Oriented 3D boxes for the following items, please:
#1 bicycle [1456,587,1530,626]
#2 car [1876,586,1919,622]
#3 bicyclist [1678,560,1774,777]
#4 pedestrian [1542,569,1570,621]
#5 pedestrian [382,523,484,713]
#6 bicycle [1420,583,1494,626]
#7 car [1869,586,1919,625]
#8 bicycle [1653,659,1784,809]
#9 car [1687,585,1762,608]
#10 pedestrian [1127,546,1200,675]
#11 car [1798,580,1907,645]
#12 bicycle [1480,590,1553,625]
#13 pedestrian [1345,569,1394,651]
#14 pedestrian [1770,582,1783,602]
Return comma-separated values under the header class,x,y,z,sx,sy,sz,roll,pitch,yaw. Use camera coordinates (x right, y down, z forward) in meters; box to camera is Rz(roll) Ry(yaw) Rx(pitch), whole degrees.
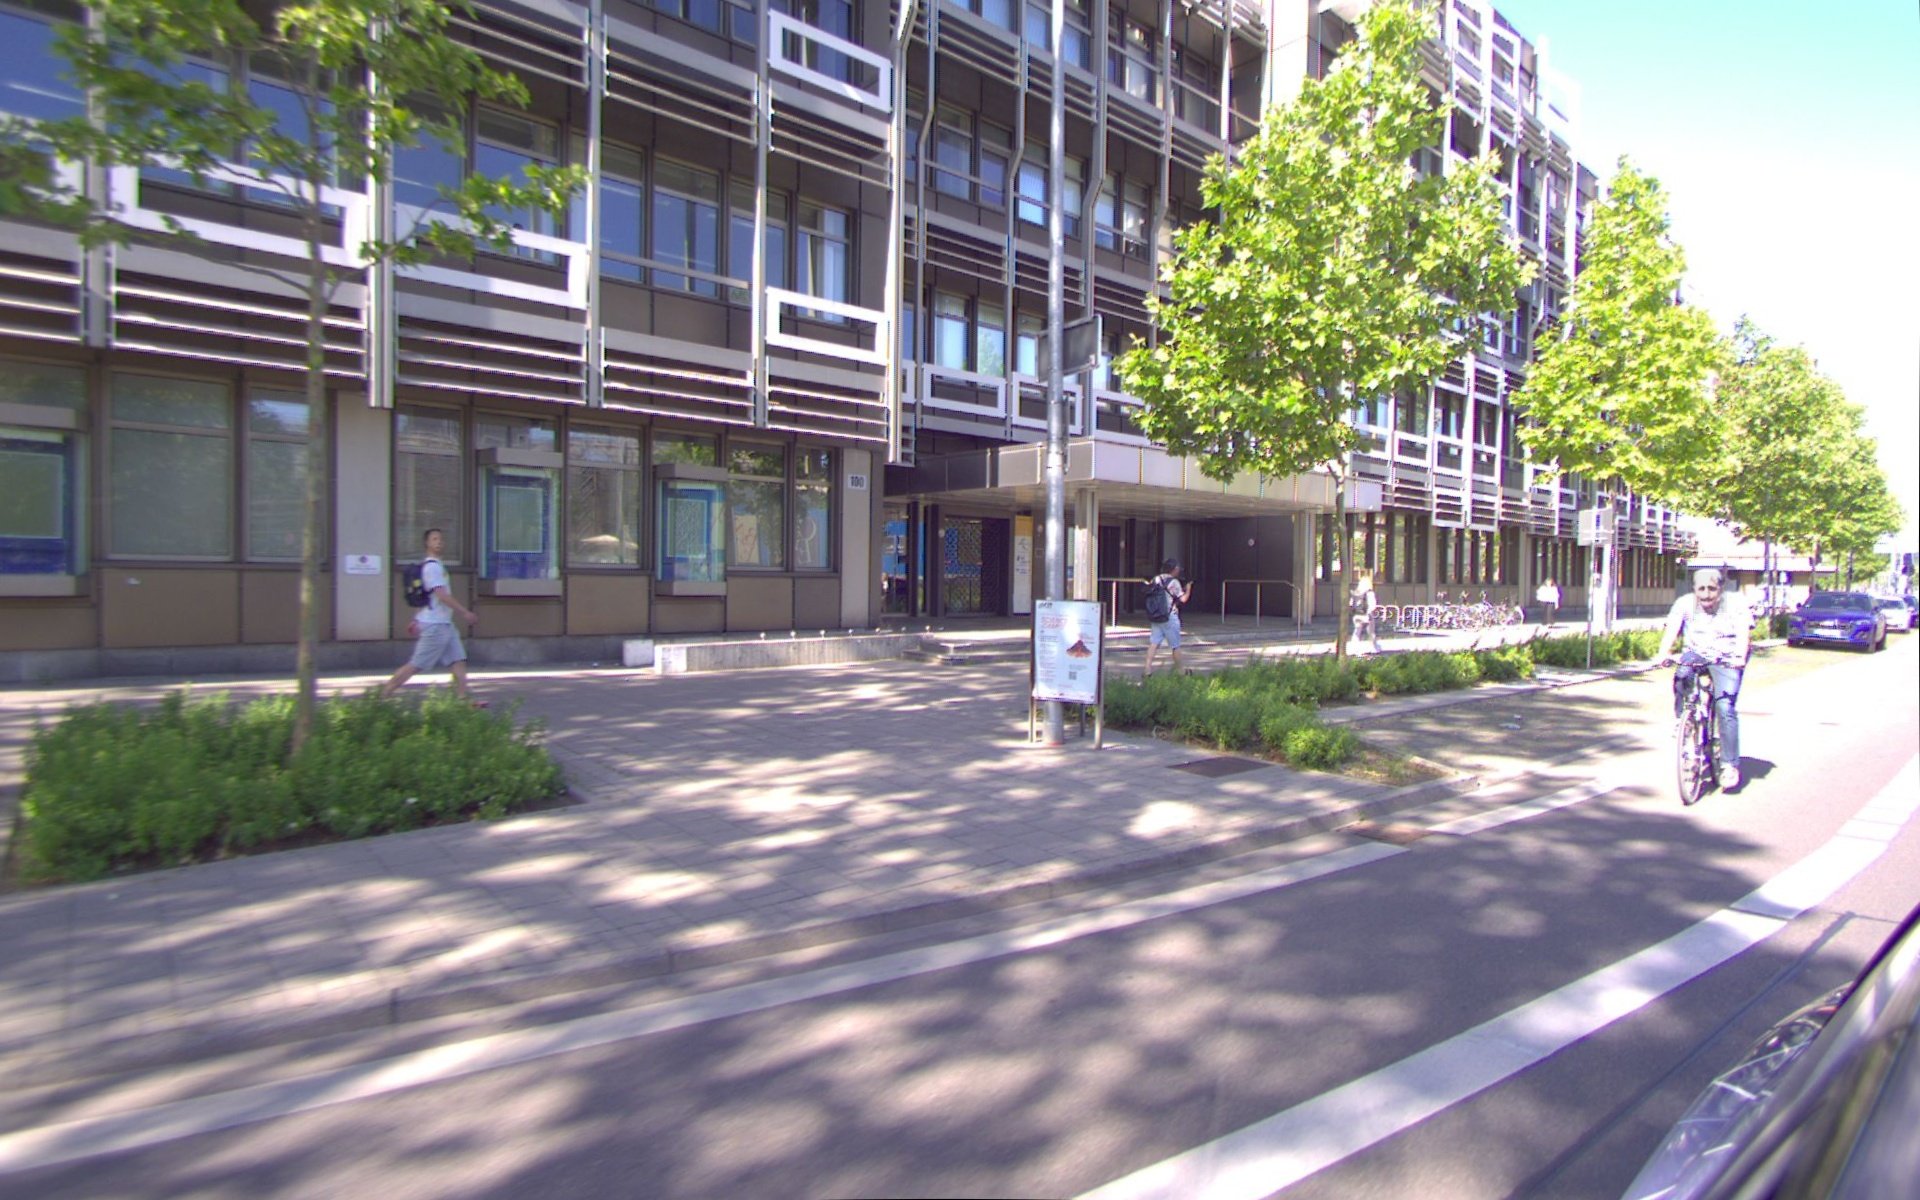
class,x,y,z,sx,sy,sz,roll,pitch,yaw
bicycle,15.714,0.167,29.880,0.419,1.023,1.863,0,3,-38
car,46.811,0.182,50.315,1.748,1.679,4.400,1,2,43
bicyclist,6.013,0.505,7.948,0.528,1.621,0.513,0,1,-44
pedestrian,19.129,-0.158,32.487,0.662,1.642,0.512,0,3,-40
pedestrian,-4.996,0.155,9.603,0.760,1.722,0.512,0,0,-41
bicycle,14.291,0.120,29.158,0.419,1.111,1.863,0,3,-38
car,38.611,0.199,41.579,4.088,1.483,1.619,-1,3,-45
bicycle,5.990,0.979,7.943,2.161,0.917,0.498,0,0,-45
car,57.361,-0.290,76.021,4.379,1.563,1.831,1,1,35
pedestrian,2.856,0.134,14.208,0.789,1.749,0.649,0,1,-40
car,25.789,0.295,29.186,4.766,1.677,1.852,-1,3,-43
bicycle,16.783,0.211,30.556,0.419,0.950,1.863,0,3,-38
pedestrian,7.745,0.179,19.155,0.723,1.492,0.512,0,3,-41
pedestrian,59.758,-0.593,74.056,0.679,1.468,0.536,1,1,37
